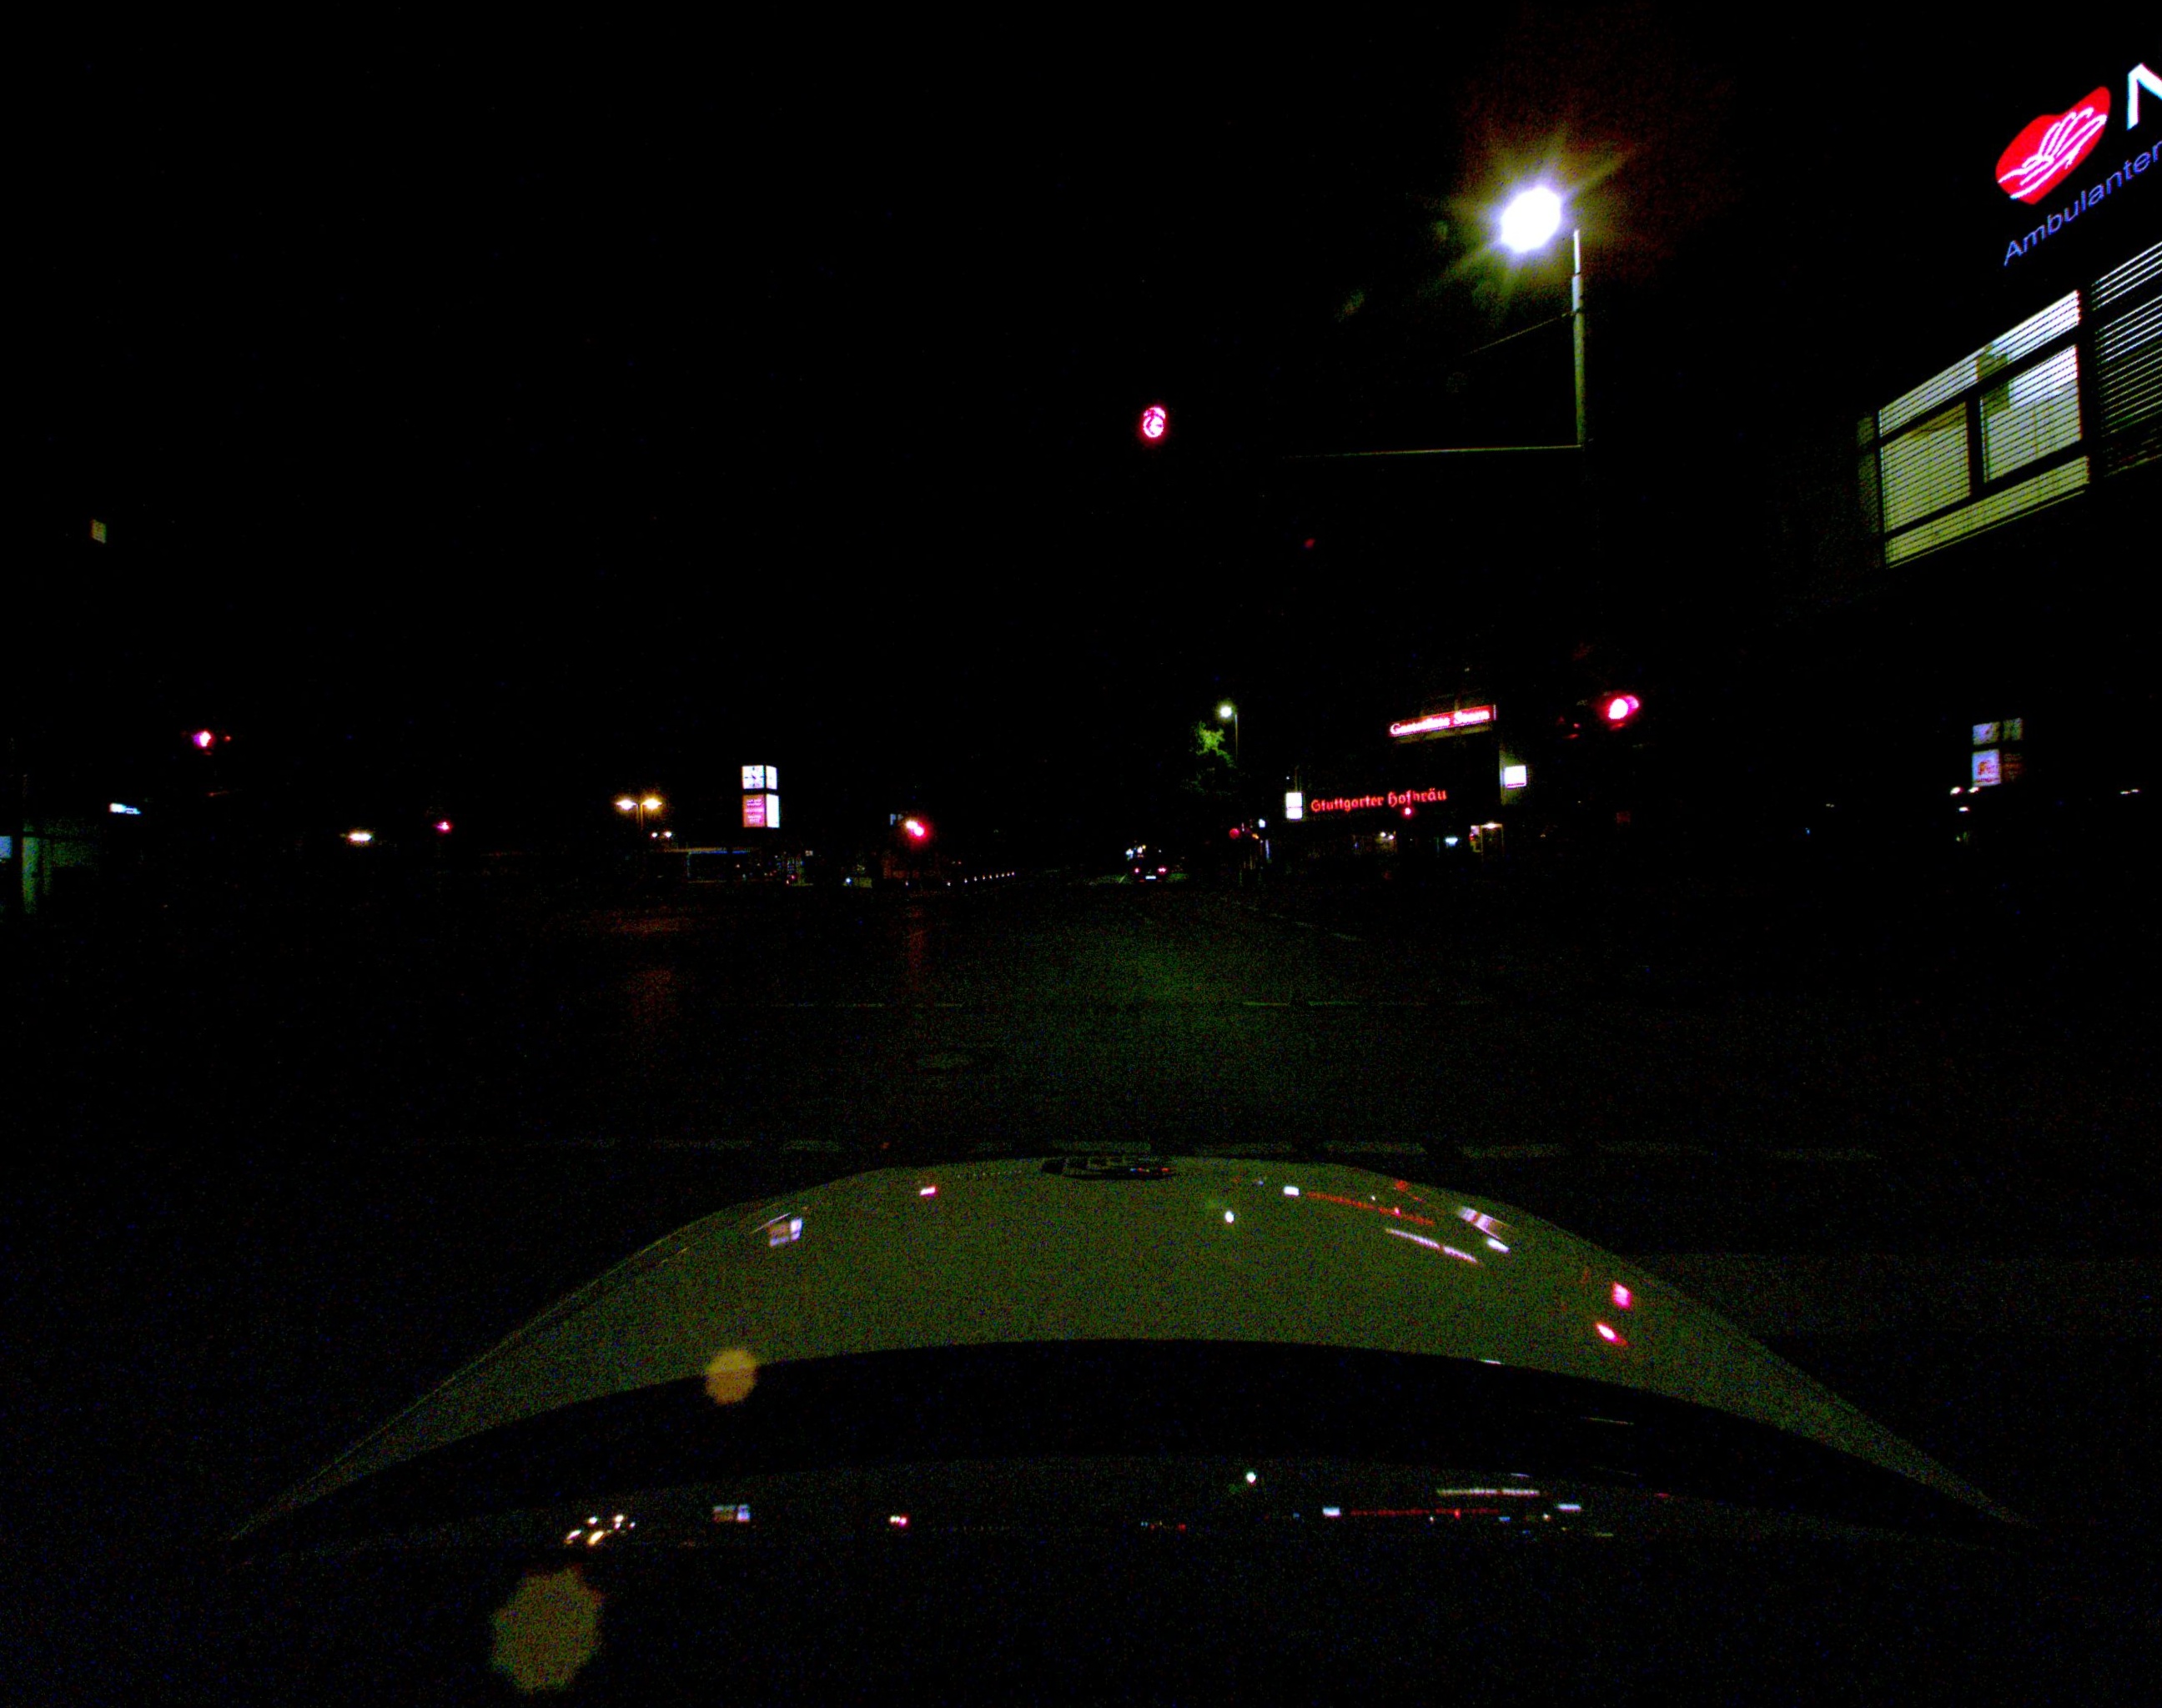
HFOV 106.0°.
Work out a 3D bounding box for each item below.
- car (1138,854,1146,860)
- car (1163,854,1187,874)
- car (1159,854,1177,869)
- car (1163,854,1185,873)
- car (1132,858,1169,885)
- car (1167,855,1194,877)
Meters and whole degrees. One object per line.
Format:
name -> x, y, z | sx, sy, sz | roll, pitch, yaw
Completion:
car -> 18.848, 0.906, 253.052 | 2.218, 1.651, 4.002 | -1, 0, 2
car -> 7.883, 0.830, 68.771 | 1.868, 1.615, 4.005 | -2, -1, 5
car -> 10.048, 0.903, 94.453 | 1.868, 1.683, 4.005 | -2, -1, 5
car -> 8.679, 0.876, 76.428 | 1.868, 1.729, 4.005 | -2, -1, 5
car -> 3.851, 0.950, 45.719 | 1.866, 1.454, 4.318 | 0, 0, 2
car -> 7.694, 0.945, 63.442 | 1.868, 1.615, 4.005 | -2, -1, 5
